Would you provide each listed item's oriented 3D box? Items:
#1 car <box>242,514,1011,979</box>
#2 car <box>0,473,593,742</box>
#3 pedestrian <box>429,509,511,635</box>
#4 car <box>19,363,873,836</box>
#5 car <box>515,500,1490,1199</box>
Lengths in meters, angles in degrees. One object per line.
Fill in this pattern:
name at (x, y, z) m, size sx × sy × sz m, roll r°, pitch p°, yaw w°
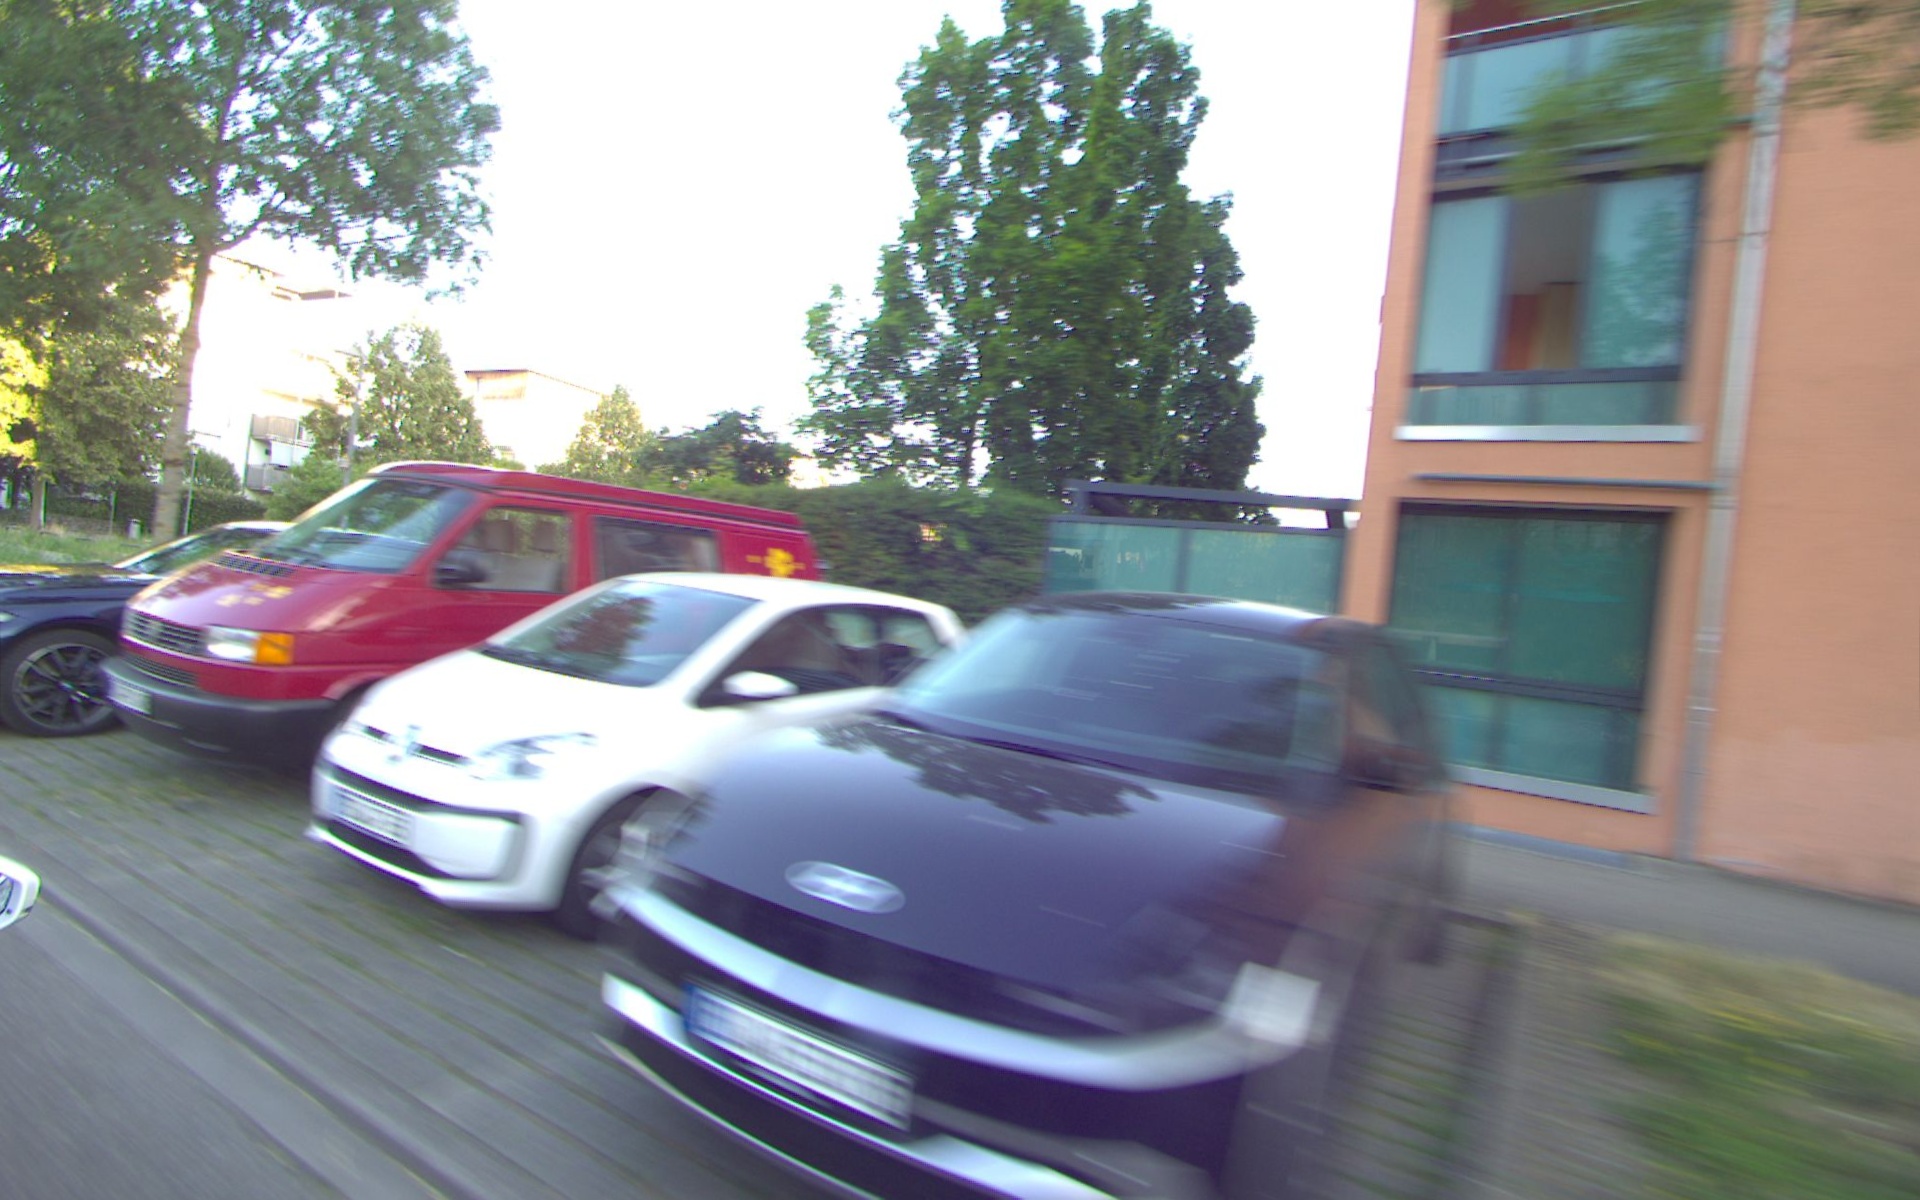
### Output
car at (-1.343, 0.534, 5.256) m, size 1.589 × 1.484 × 3.527 m, roll 6°, pitch 1°, yaw 32°
car at (-5.449, 0.103, 7.798) m, size 1.782 × 1.575 × 4.674 m, roll 6°, pitch -1°, yaw 33°
pedestrian at (-7.285, -0.408, 14.957) m, size 0.688 × 1.764 × 0.669 m, roll 7°, pitch 0°, yaw 32°
car at (-3.015, 0.104, 7.145) m, size 1.984 × 2.143 × 4.924 m, roll 6°, pitch -1°, yaw 33°
car at (0.787, 0.716, 3.856) m, size 1.763 × 1.589 × 4.217 m, roll 6°, pitch 1°, yaw 32°
